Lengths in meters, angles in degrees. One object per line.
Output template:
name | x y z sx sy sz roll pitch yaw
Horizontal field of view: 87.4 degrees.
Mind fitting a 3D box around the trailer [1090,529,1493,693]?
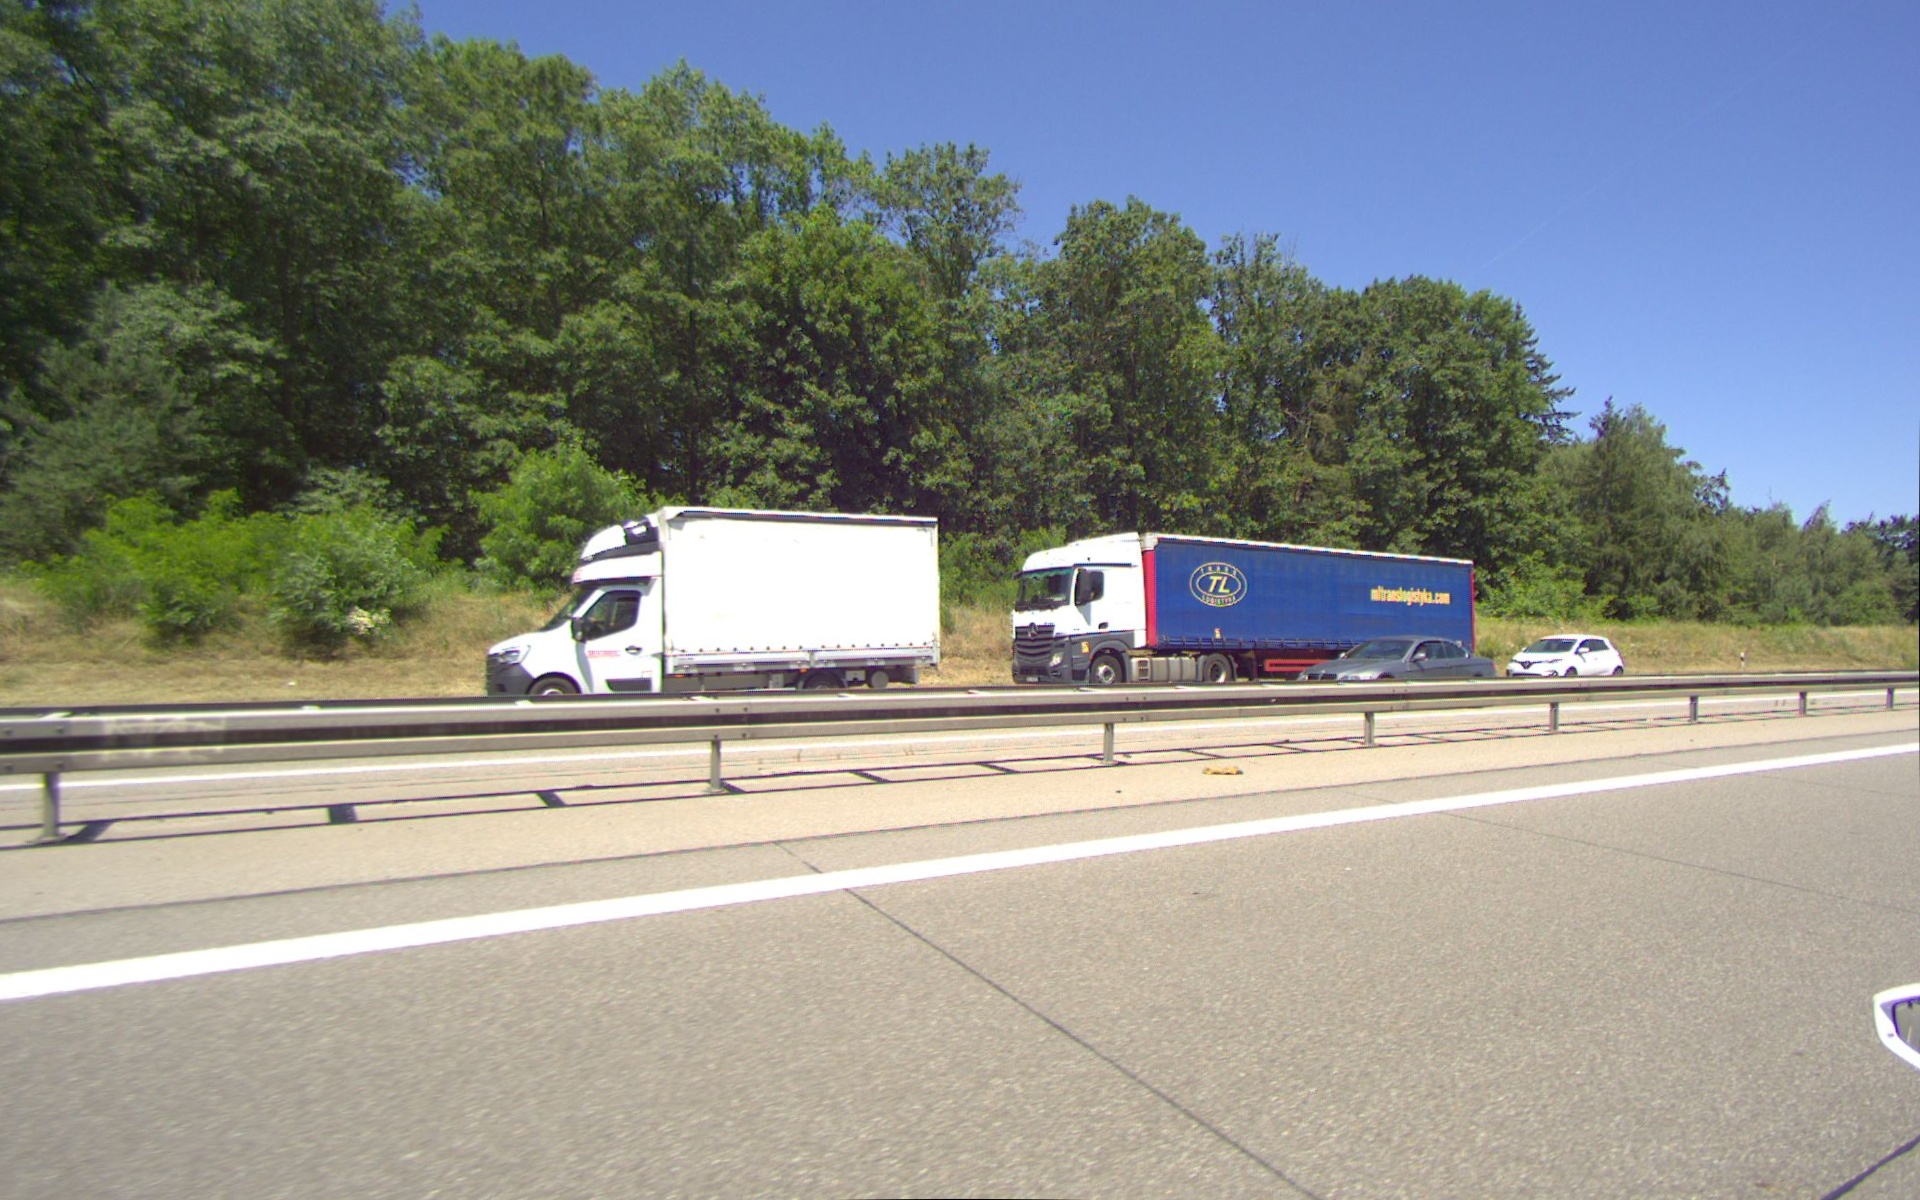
trailer | 10.258 0.519 29.597 14.199 4.066 2.494 2 -4 -30

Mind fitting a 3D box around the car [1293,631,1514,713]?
car | 8.586 1.362 19.343 4.493 1.417 1.596 2 -4 -31

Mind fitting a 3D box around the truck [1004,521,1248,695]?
truck | 4.362 0.326 26.124 6.053 4.066 2.494 2 -4 -30

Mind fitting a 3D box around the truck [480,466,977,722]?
truck | -3.748 0.080 17.392 8.024 3.653 2.446 2 -4 -30

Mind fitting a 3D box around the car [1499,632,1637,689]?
car | 18.033 1.795 29.746 4.417 1.579 1.597 2 -4 -31

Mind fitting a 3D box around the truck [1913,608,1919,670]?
truck | 60.016 2.310 59.282 10.321 3.564 2.719 2 -4 -31
